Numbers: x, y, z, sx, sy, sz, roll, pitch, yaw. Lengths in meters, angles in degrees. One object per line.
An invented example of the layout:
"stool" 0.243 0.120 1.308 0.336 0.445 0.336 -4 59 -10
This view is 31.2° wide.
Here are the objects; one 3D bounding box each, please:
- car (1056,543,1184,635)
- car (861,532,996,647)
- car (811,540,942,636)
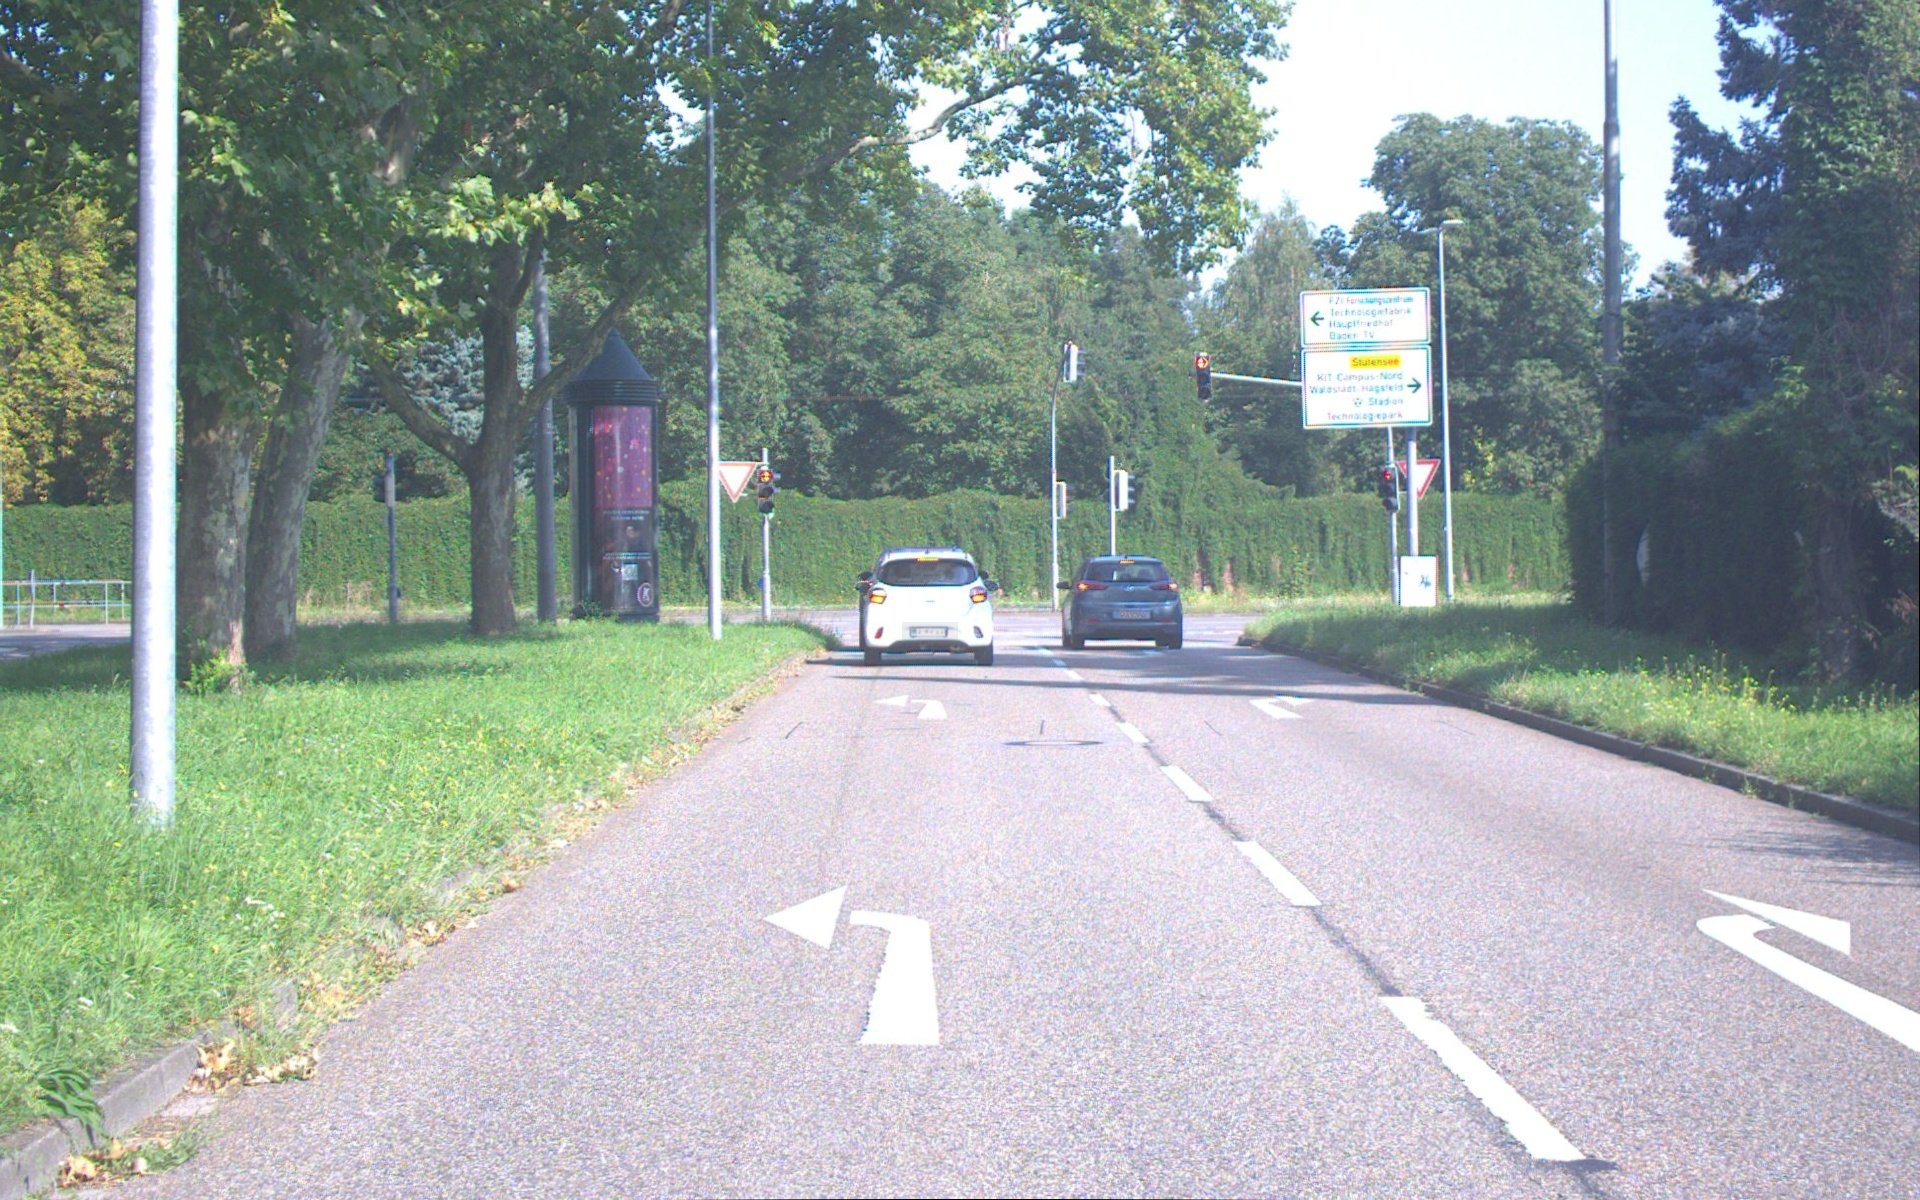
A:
"car" 2.499 -0.184 54.464 1.797 1.396 4.000 0 1 0
"car" -0.378 -0.148 45.856 1.687 1.457 4.000 0 1 1
"car" -1.285 -0.195 54.297 1.687 1.457 3.849 0 1 4
